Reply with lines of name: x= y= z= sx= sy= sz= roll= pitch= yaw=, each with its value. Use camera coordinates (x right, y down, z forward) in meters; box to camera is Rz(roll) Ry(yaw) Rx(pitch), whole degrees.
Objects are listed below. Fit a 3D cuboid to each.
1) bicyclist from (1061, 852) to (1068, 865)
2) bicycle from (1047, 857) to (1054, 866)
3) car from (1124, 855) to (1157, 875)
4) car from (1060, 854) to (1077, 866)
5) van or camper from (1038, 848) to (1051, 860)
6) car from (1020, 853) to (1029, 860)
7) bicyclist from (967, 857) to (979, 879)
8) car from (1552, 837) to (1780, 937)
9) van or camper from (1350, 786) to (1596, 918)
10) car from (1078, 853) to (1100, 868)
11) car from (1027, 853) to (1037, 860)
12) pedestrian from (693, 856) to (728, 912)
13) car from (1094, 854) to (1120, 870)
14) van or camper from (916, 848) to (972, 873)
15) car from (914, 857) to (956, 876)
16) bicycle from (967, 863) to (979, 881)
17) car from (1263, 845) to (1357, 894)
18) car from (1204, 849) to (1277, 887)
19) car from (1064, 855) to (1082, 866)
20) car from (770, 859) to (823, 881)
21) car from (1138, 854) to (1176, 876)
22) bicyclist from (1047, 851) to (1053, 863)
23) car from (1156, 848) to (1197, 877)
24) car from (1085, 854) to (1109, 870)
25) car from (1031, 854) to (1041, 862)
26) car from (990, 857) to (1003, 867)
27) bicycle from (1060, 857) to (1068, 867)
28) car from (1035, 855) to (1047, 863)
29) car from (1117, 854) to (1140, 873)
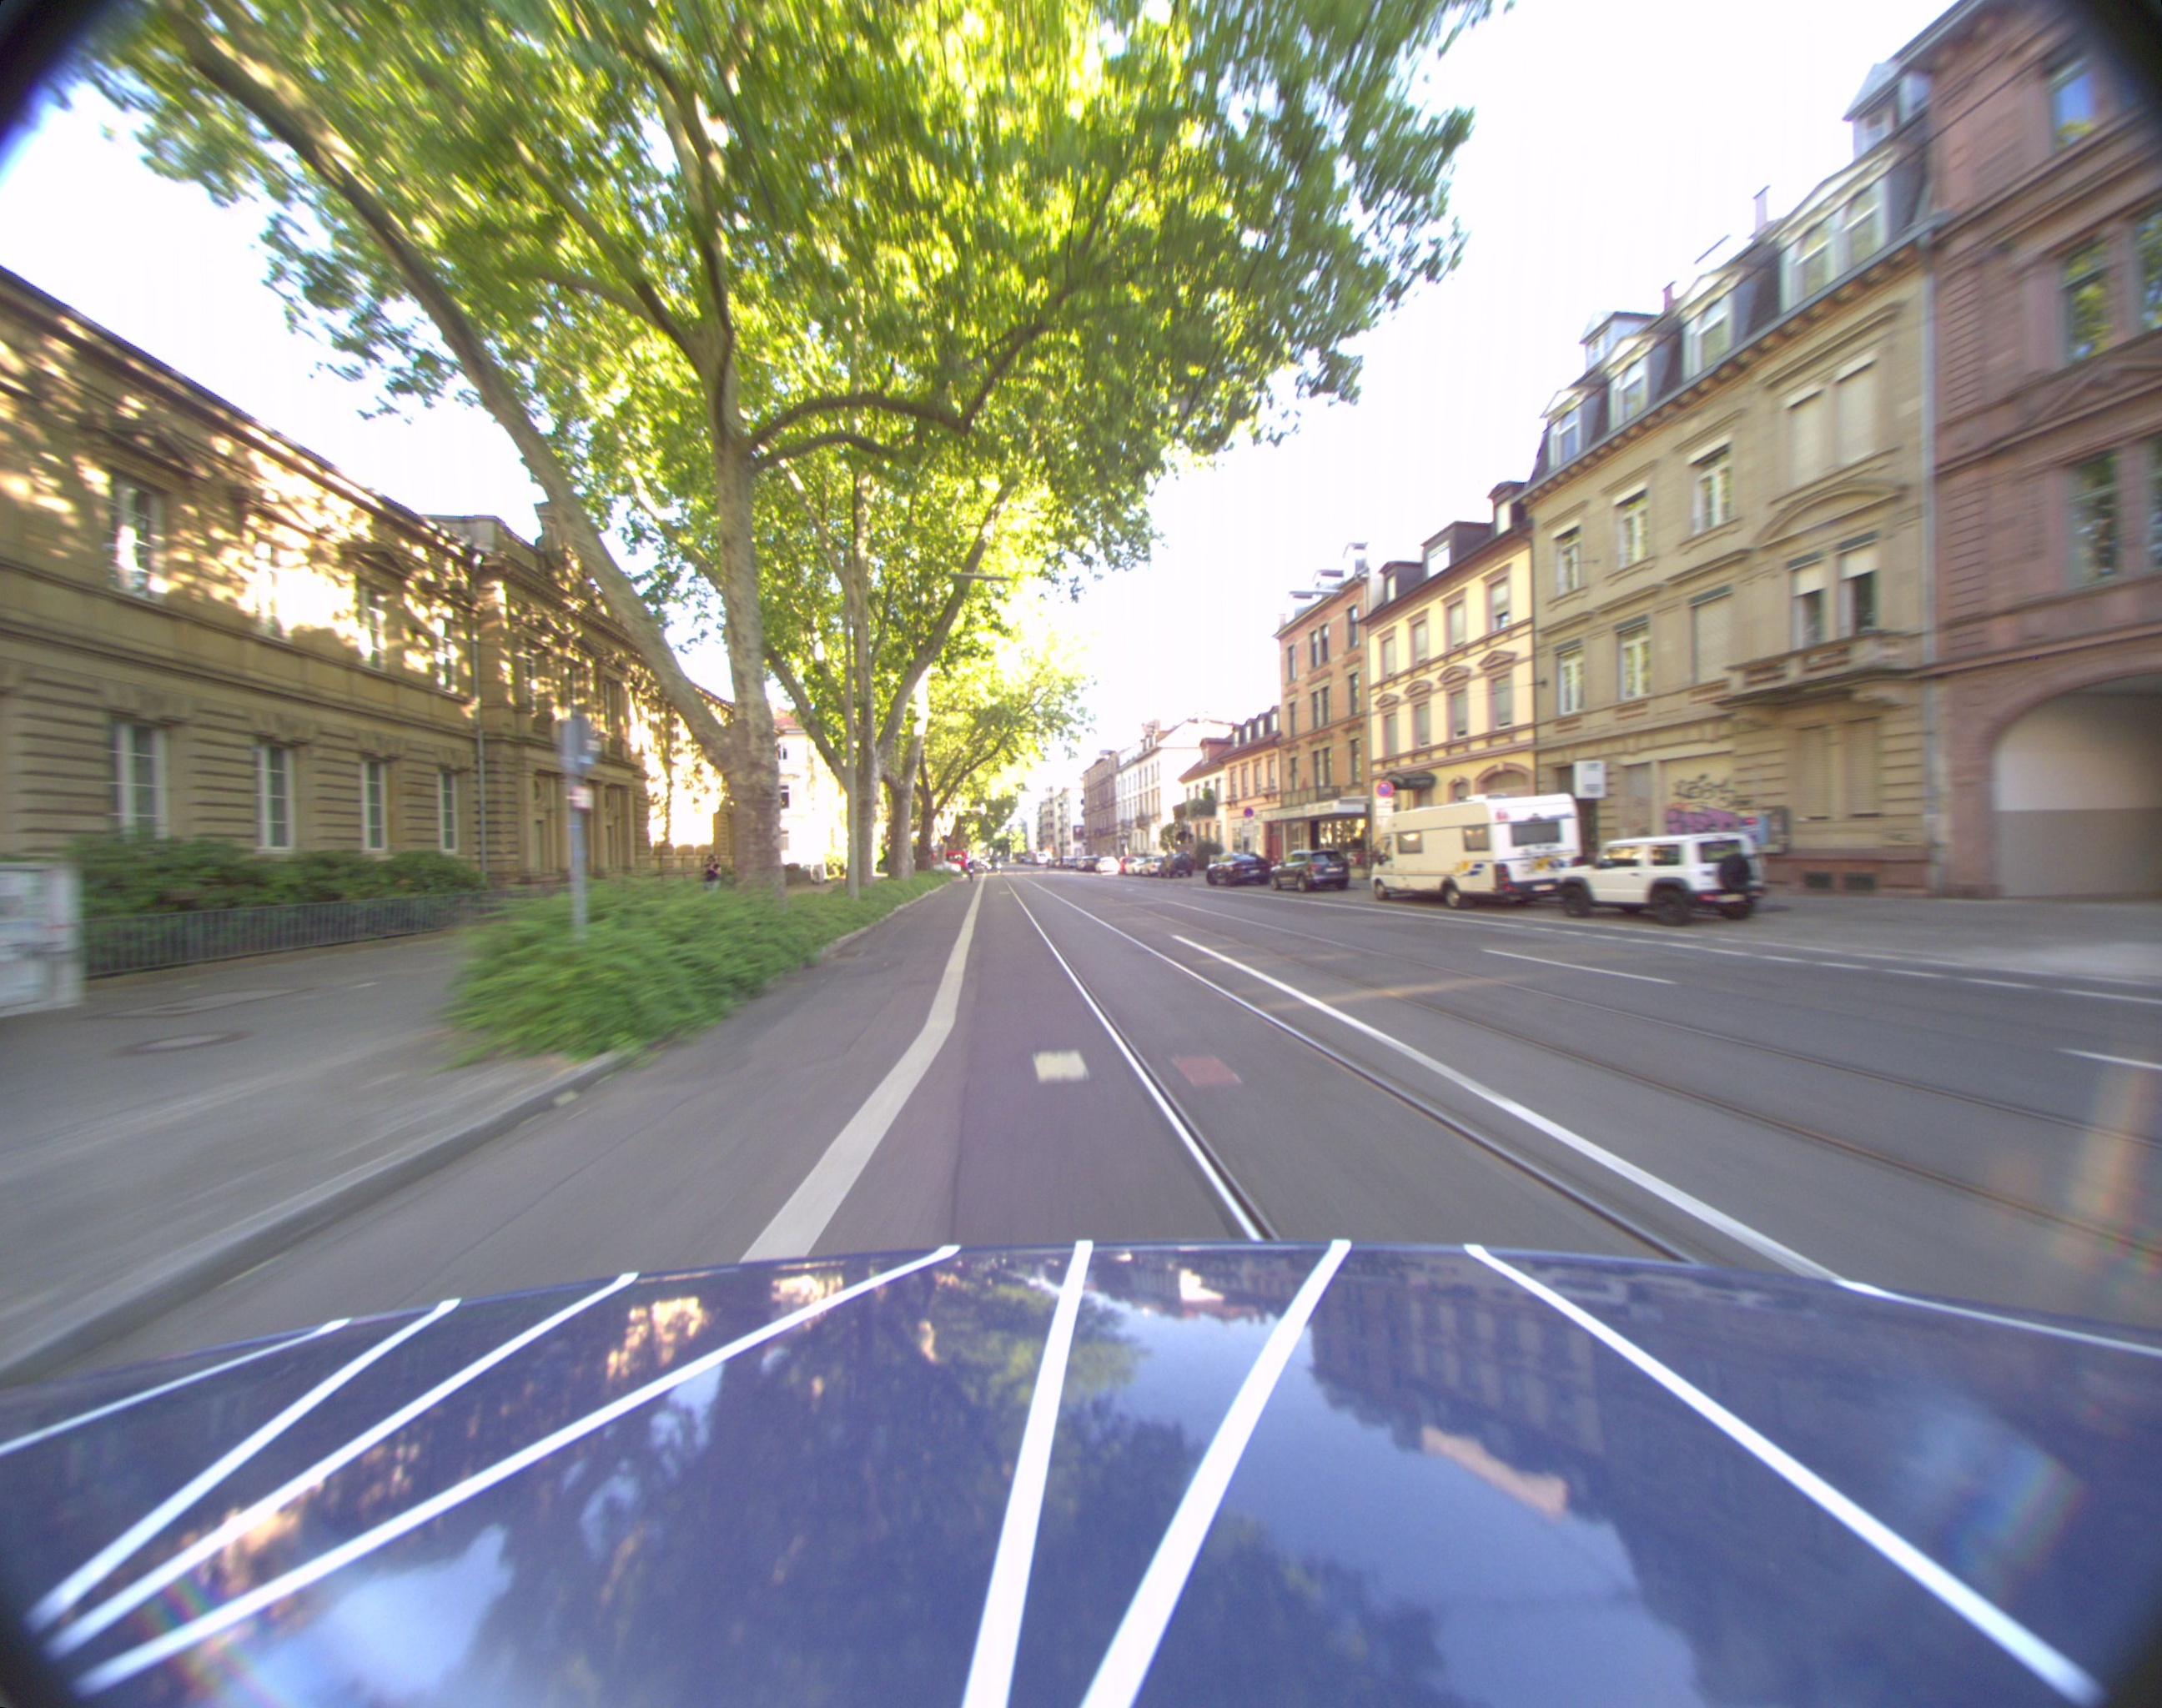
bicyclist: x=-1.973 y=0.580 z=89.139 sx=0.715 sy=1.508 sz=0.953 roll=-1 pitch=1 yaw=-7
bicycle: x=-4.099 y=0.983 z=100.884 sx=0.715 sy=1.131 sz=2.118 roll=-1 pitch=0 yaw=-8
car: x=4.666 y=0.832 z=60.363 sx=1.588 sy=1.482 sz=4.467 roll=-3 pitch=0 yaw=-8
car: x=-1.829 y=0.840 z=106.401 sx=1.799 sy=1.617 sz=4.080 roll=-3 pitch=0 yaw=-8
van or camper: x=-6.825 y=0.004 z=141.623 sx=1.946 sy=2.267 sz=4.594 roll=-3 pitch=0 yaw=-8
car: x=-14.488 y=0.595 z=193.228 sx=1.809 sy=1.534 sz=3.915 roll=-3 pitch=0 yaw=-10
bicyclist: x=-7.078 y=0.923 z=49.798 sx=0.715 sy=1.435 sz=0.953 roll=-1 pitch=1 yaw=-6
car: x=11.631 y=0.591 z=15.395 sx=1.636 sy=1.696 sz=3.368 roll=-4 pitch=1 yaw=-10
van or camper: x=10.565 y=-0.068 z=21.537 sx=2.427 sy=2.930 sz=7.246 roll=-5 pitch=1 yaw=-6
car: x=0.925 y=0.713 z=86.001 sx=1.799 sy=1.630 sz=4.251 roll=-3 pitch=0 yaw=-8
car: x=-11.530 y=0.497 z=177.562 sx=1.809 sy=1.534 sz=3.915 roll=-3 pitch=0 yaw=-10
pedestrian: x=-11.601 y=0.924 z=23.843 sx=0.652 sy=1.726 sz=1.007 roll=-1 pitch=1 yaw=-7
car: x=2.602 y=0.802 z=75.880 sx=1.869 sy=1.423 sz=4.080 roll=-3 pitch=0 yaw=-8
van or camper: x=-15.132 y=0.695 z=84.091 sx=5.932 sy=2.484 sz=2.218 roll=-1 pitch=3 yaw=-10
car: x=-13.393 y=1.158 z=69.996 sx=3.679 sy=1.534 sz=1.613 roll=-1 pitch=3 yaw=-8
bicycle: x=-7.085 y=1.173 z=49.895 sx=0.715 sy=1.131 sz=2.119 roll=-1 pitch=0 yaw=-7
car: x=9.232 y=0.594 z=31.031 sx=1.816 sy=1.695 sz=4.440 roll=-5 pitch=1 yaw=-9
car: x=7.985 y=0.671 z=38.587 sx=2.000 sy=1.693 sz=4.747 roll=-5 pitch=1 yaw=-8
car: x=-1.100 y=0.898 z=101.153 sx=1.799 sy=1.368 sz=4.080 roll=-3 pitch=0 yaw=-8
car: x=-22.656 y=1.285 z=60.594 sx=3.574 sy=1.534 sz=1.735 roll=-1 pitch=3 yaw=-8
car: x=5.438 y=0.750 z=54.995 sx=1.668 sy=1.446 sz=4.401 roll=-4 pitch=1 yaw=-8
bicyclist: x=-4.111 y=0.425 z=100.857 sx=0.715 sy=1.508 sz=0.953 roll=-1 pitch=1 yaw=-8
car: x=6.316 y=0.545 z=50.674 sx=1.730 sy=1.736 sz=3.623 roll=-5 pitch=1 yaw=-7
car: x=1.668 y=0.870 z=80.941 sx=1.799 sy=1.587 sz=4.080 roll=-3 pitch=0 yaw=-8
car: x=-9.832 y=0.810 z=165.374 sx=1.809 sy=1.534 sz=3.916 roll=-3 pitch=0 yaw=-8
car: x=-12.634 y=1.169 z=113.528 sx=1.741 sy=1.365 sz=3.916 roll=-3 pitch=0 yaw=-8
bicycle: x=-1.947 y=0.949 z=89.004 sx=0.715 sy=1.131 sz=2.119 roll=-1 pitch=0 yaw=-7
car: x=-7.830 y=1.004 z=147.643 sx=1.809 sy=1.534 sz=3.916 roll=-3 pitch=0 yaw=-8
car: x=4.075 y=0.784 z=65.738 sx=1.422 sy=1.502 sz=3.324 roll=-3 pitch=0 yaw=-5
